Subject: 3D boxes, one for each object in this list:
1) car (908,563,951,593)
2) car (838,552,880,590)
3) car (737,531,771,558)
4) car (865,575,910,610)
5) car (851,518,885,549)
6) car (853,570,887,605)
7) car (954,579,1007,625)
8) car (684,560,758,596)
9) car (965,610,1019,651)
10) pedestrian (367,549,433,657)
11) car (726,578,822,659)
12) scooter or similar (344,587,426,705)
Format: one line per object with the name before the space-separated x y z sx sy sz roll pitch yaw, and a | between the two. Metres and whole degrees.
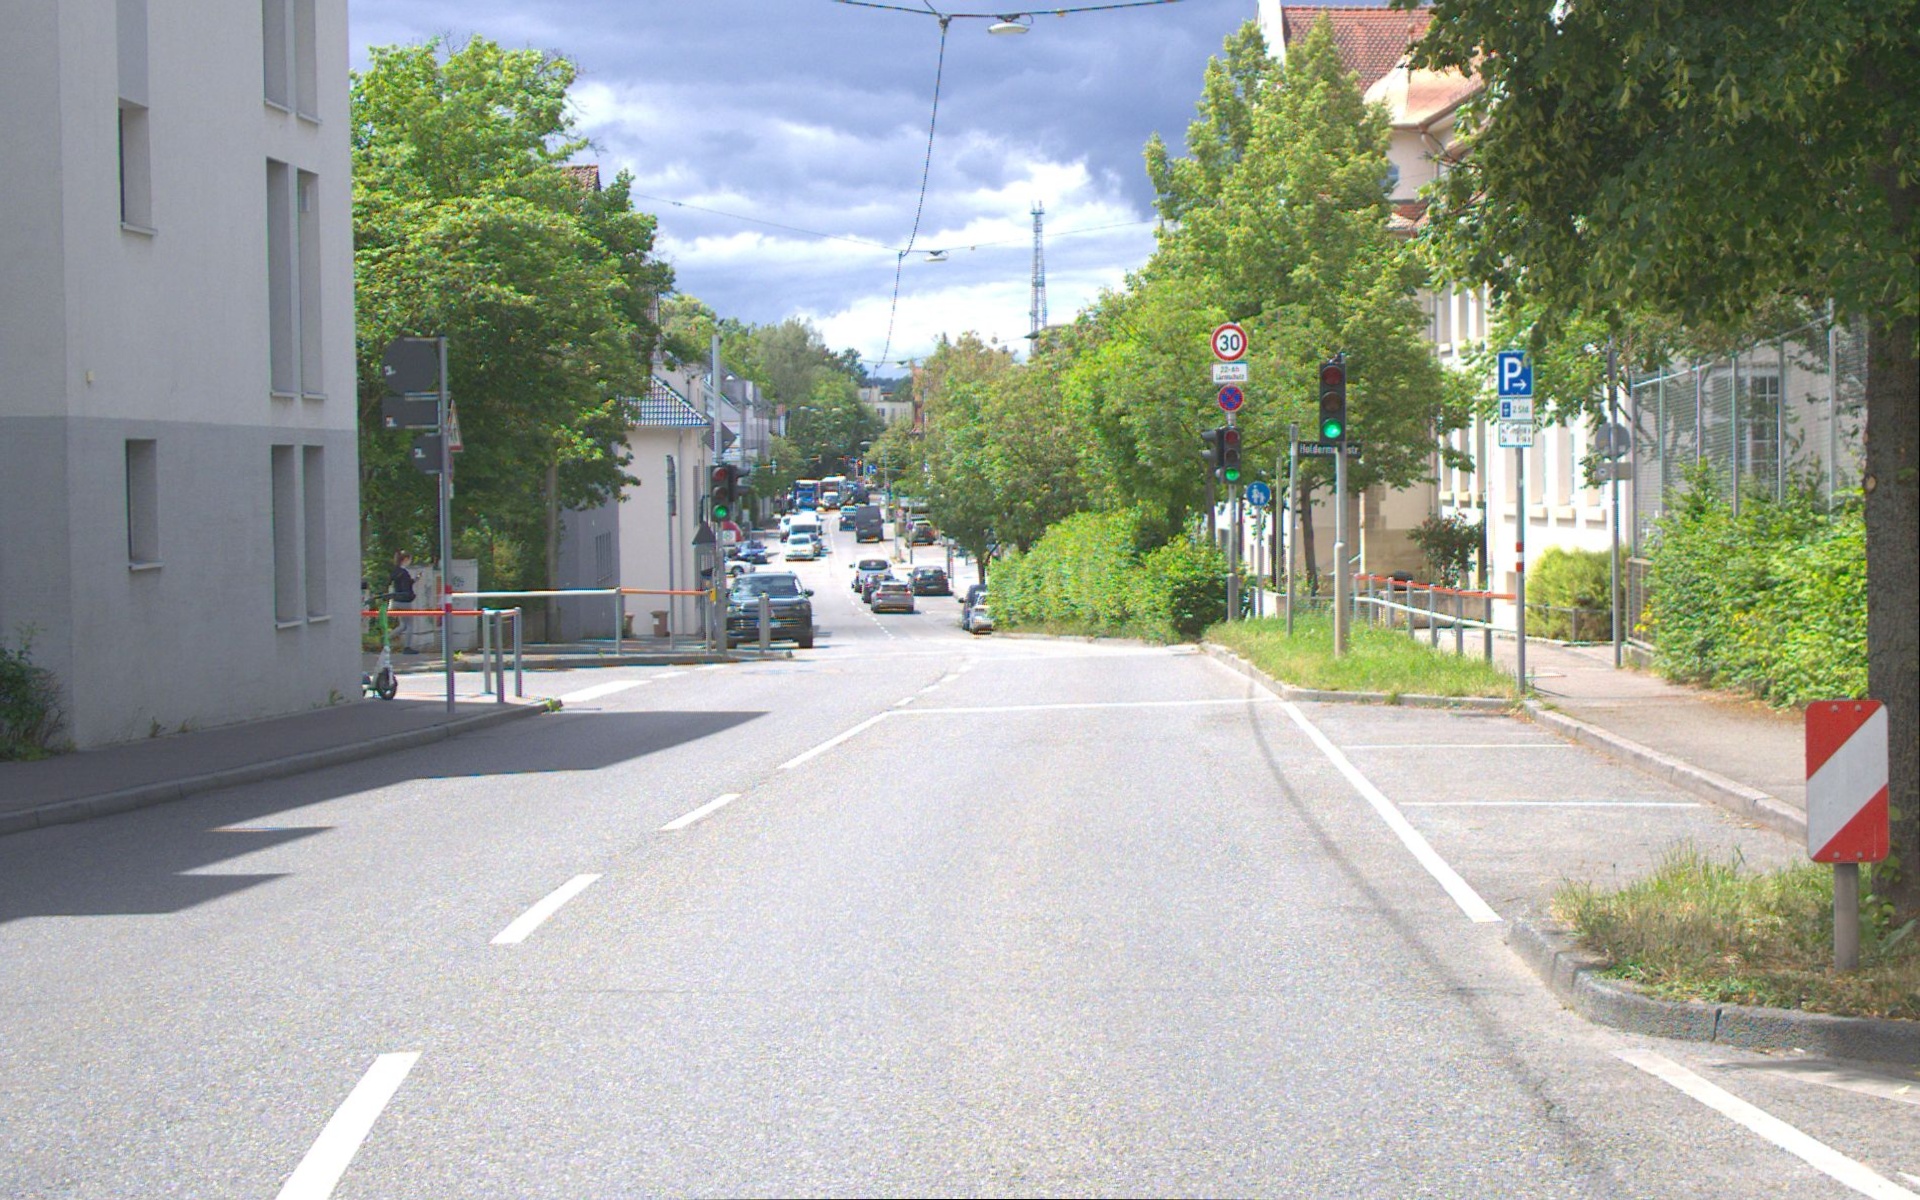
car | -1.546 -1.137 175.141 1.752 1.366 4.001 -1 2 -7
car | -5.231 -1.520 178.478 1.836 1.855 3.852 0 2 -7
car | -12.971 -3.512 216.650 1.873 1.634 4.000 1 0 0
car | -3.380 -0.350 159.433 1.744 1.412 4.001 6 0 -4
car | -6.933 -4.984 259.206 2.436 2.310 5.327 0 1 -3
car | -4.442 -0.605 169.412 1.273 1.522 3.051 -1 4 -9
car | 0.778 0.071 134.664 1.844 1.762 4.515 0 0 -2
car | -13.556 -1.238 194.768 3.986 2.007 2.001 1 0 -10
car | 1.190 1.131 128.743 1.786 1.504 4.365 0 0 -2
pedestrian | -8.329 0.042 51.141 0.770 1.592 0.672 0 0 -30
car | -3.868 0.359 72.043 1.795 1.605 4.646 -1 1 -1
scooter or similar | -6.313 0.500 37.727 0.489 1.257 1.307 -1 0 -27
